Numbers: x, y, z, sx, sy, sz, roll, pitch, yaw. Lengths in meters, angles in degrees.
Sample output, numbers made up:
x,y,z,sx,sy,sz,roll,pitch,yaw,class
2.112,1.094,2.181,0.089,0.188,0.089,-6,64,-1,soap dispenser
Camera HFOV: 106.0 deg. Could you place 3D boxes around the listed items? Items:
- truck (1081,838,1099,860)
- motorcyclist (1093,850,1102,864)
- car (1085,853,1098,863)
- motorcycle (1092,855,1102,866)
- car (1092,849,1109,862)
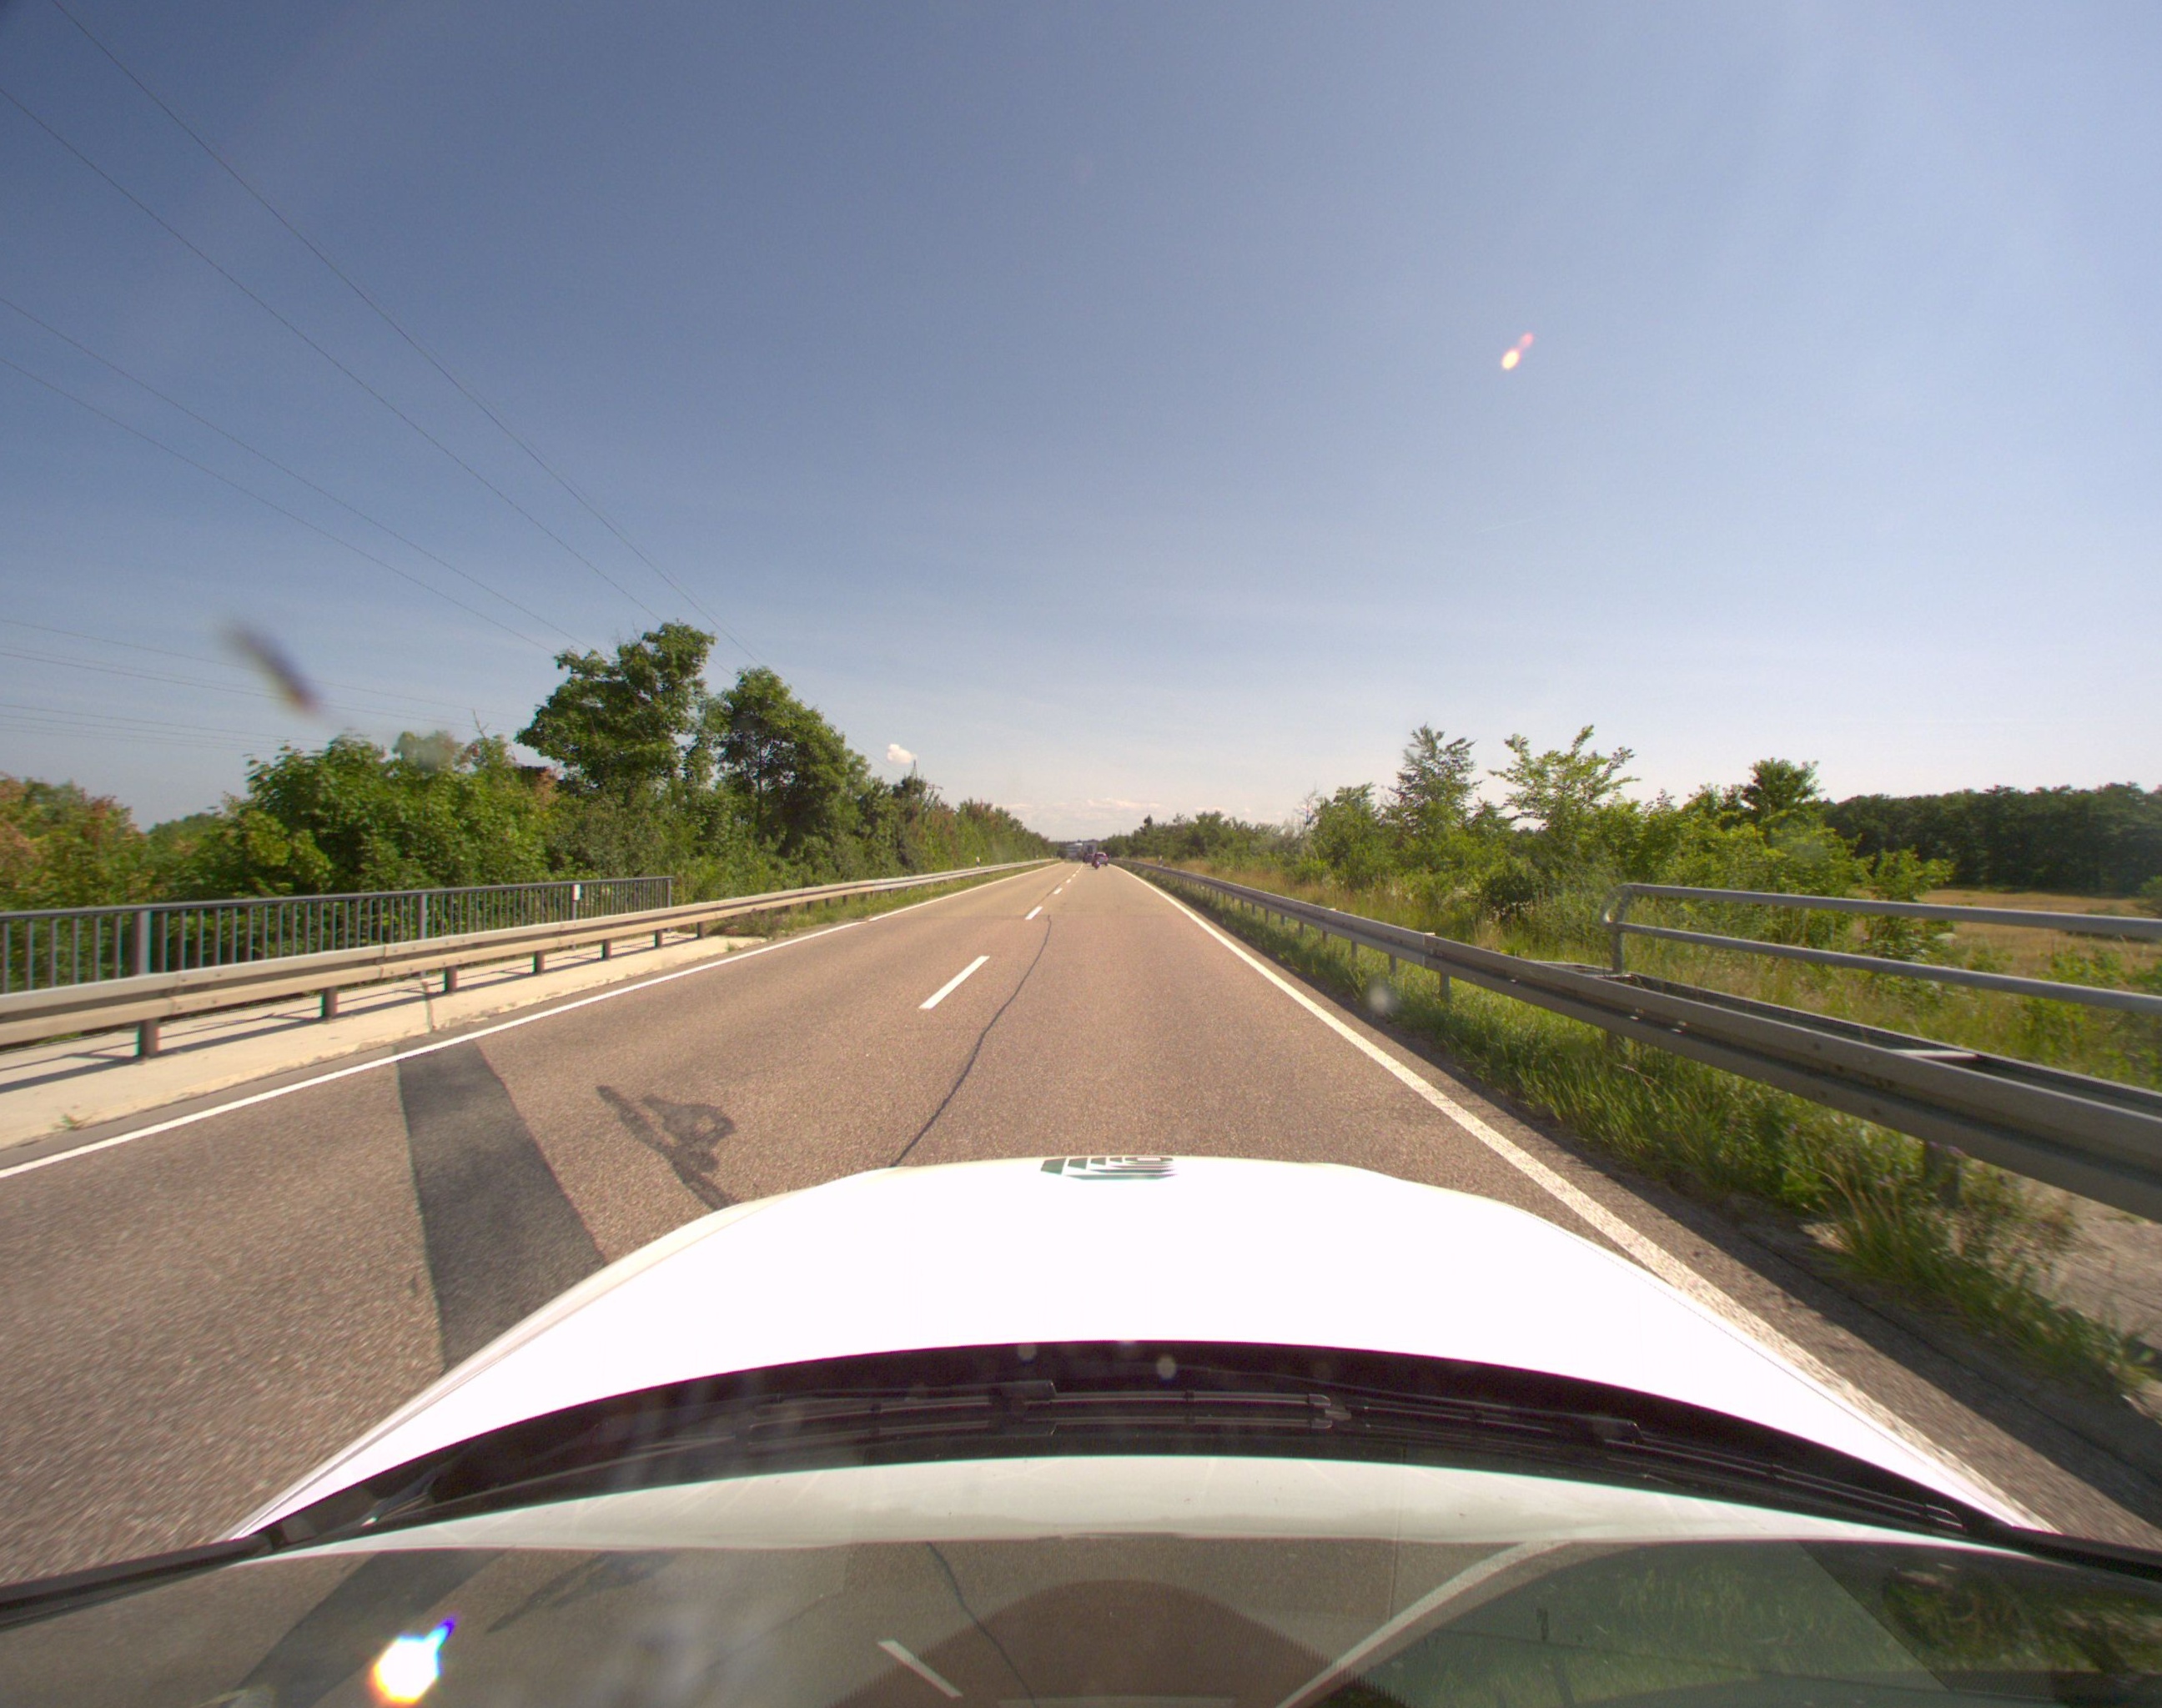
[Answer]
x,y,z,sx,sy,sz,roll,pitch,yaw,class
1.614,-0.947,154.848,3.231,3.978,9.442,-1,0,0,truck
1.480,0.267,74.879,0.777,1.325,0.814,-1,1,3,motorcyclist
1.593,0.602,127.899,1.858,1.420,4.004,0,1,3,car
1.472,0.592,74.864,0.777,0.975,2.364,-1,1,4,motorcycle
2.238,0.144,95.689,1.820,1.451,3.999,-1,1,-1,car
